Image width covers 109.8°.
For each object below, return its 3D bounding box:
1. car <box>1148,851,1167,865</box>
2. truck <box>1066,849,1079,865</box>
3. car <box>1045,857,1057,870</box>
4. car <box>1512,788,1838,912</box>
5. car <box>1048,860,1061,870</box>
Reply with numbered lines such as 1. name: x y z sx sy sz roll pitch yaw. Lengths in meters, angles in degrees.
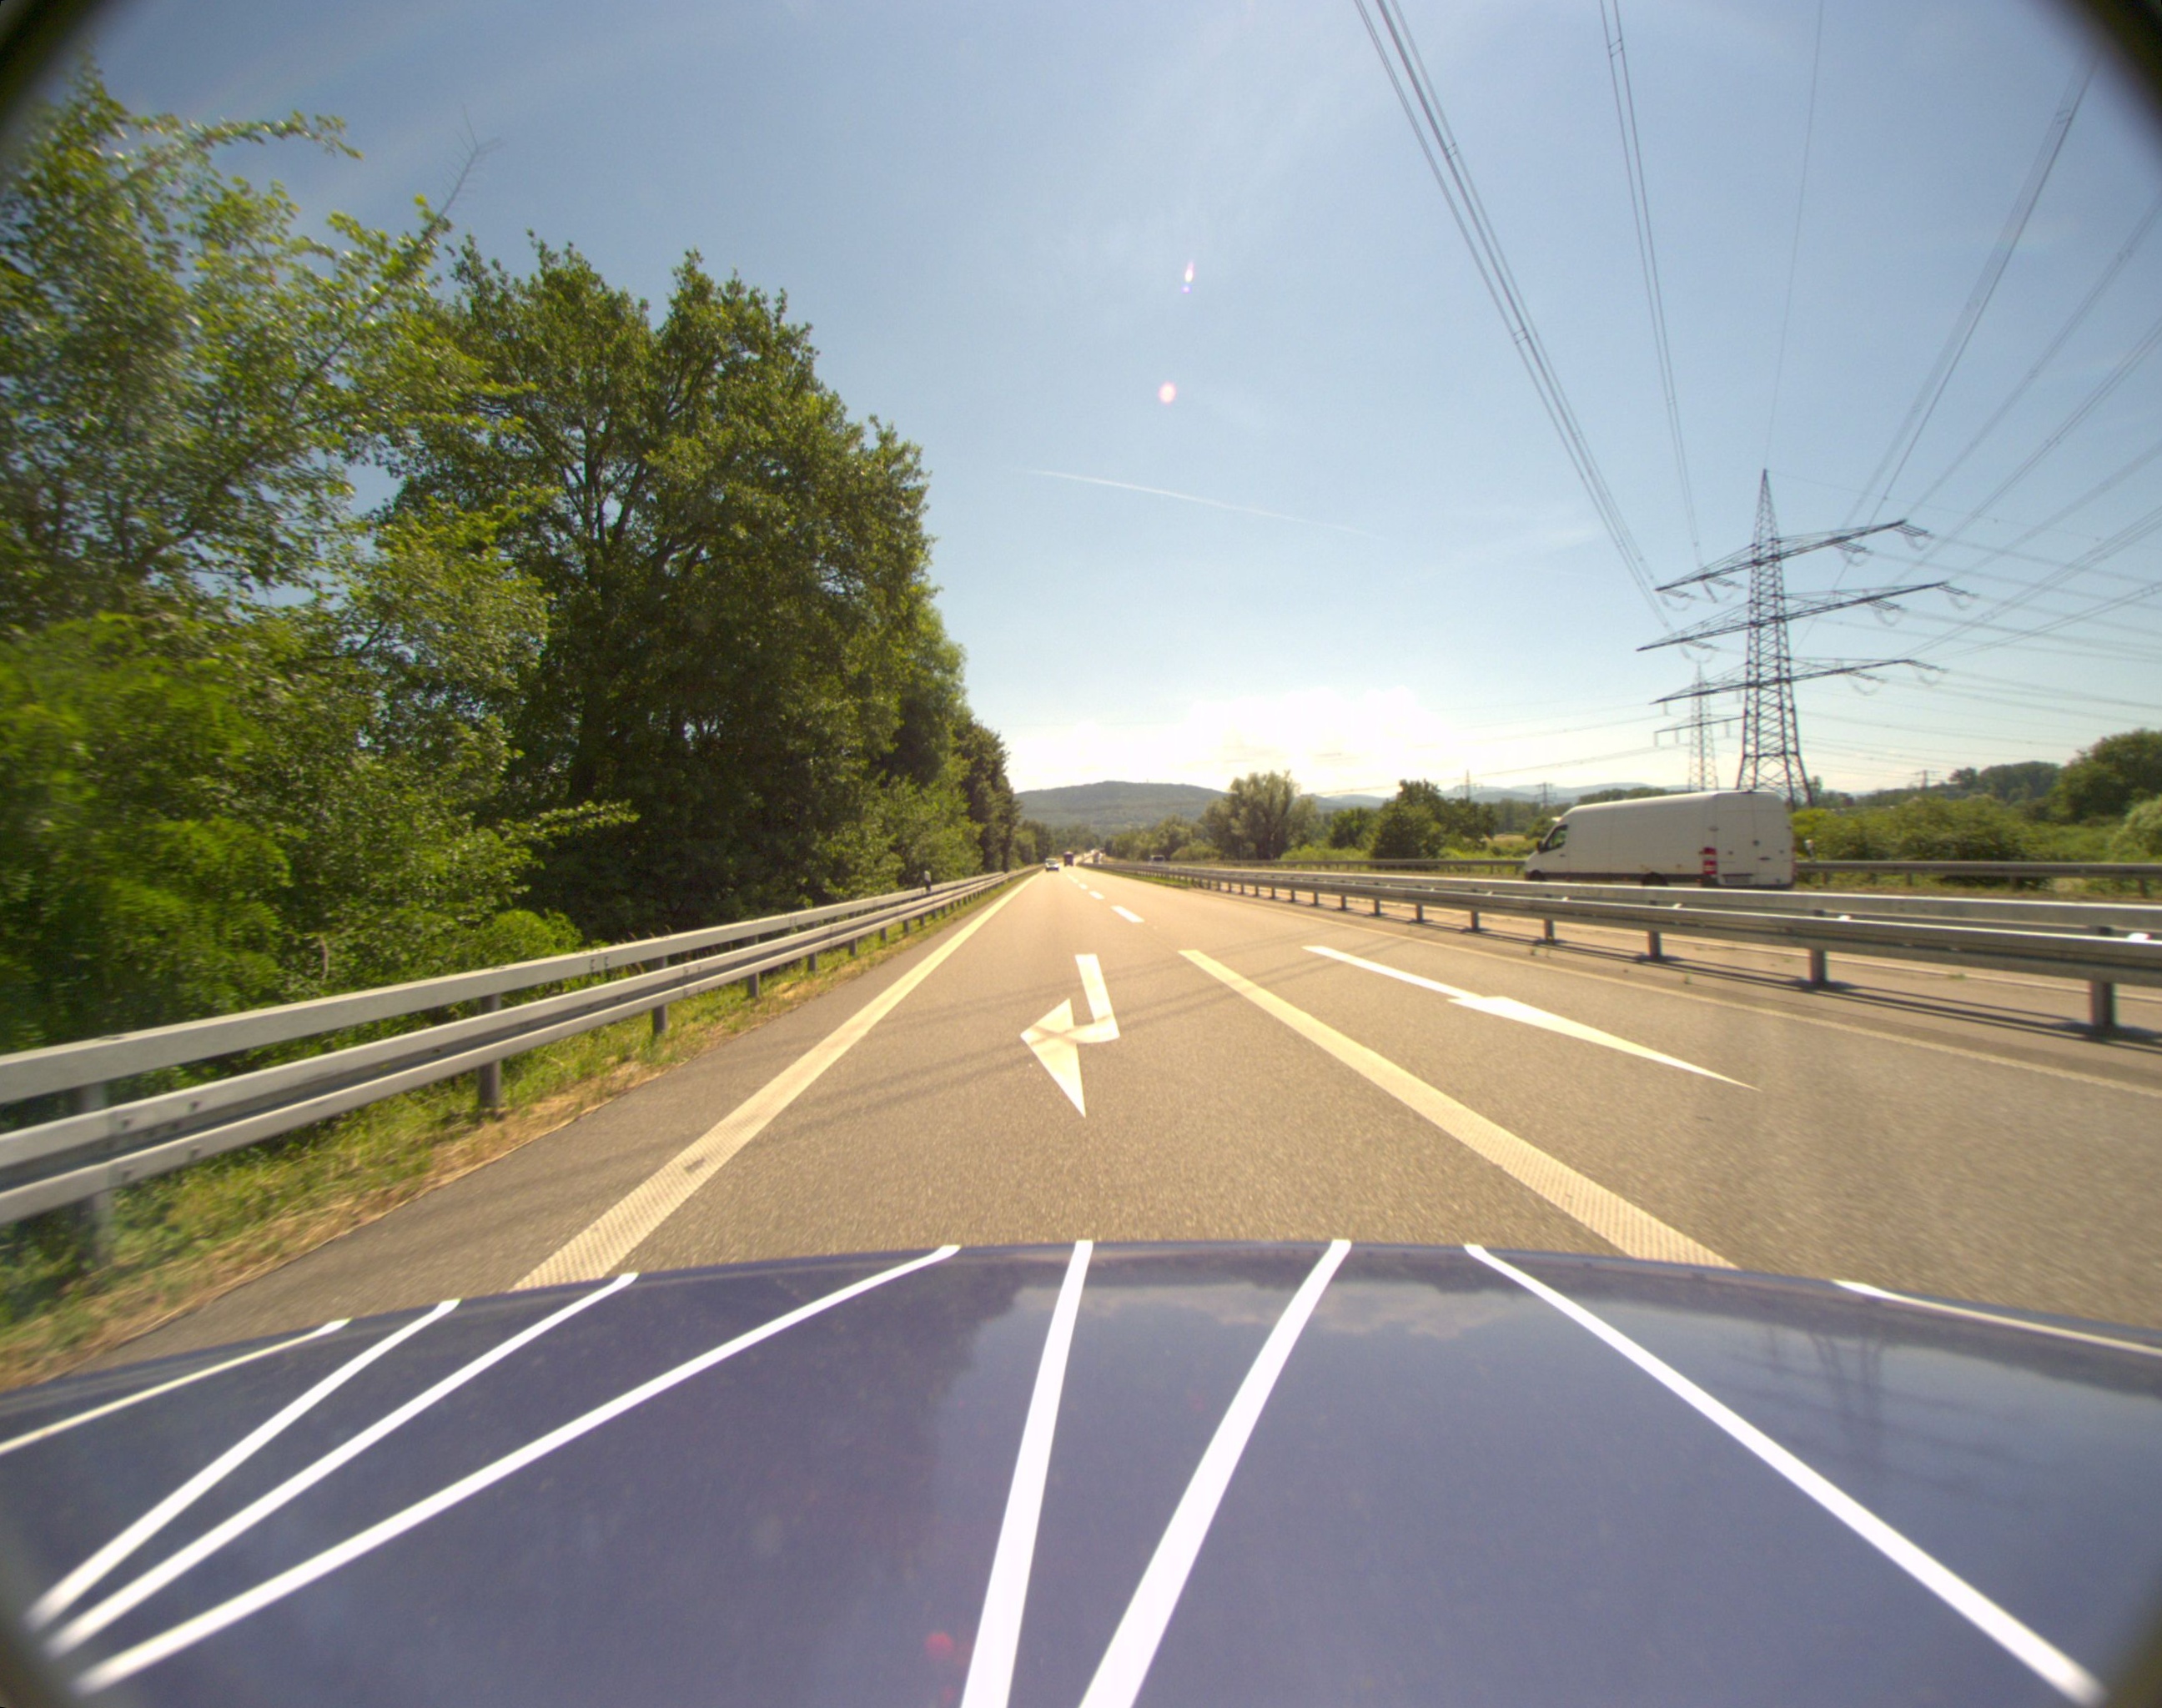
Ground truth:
1. car: 10.981 0.575 109.024 1.896 1.981 5.531 -1 0 -3
2. truck: -2.194 0.736 203.253 2.826 4.143 9.949 -2 0 3
3. car: -5.142 1.626 129.795 1.619 2.085 3.486 -2 0 3
4. car: 14.560 -0.078 19.586 2.531 2.602 7.184 0 0 -3
5. car: -3.877 1.631 112.910 1.577 1.387 3.486 -2 0 3
